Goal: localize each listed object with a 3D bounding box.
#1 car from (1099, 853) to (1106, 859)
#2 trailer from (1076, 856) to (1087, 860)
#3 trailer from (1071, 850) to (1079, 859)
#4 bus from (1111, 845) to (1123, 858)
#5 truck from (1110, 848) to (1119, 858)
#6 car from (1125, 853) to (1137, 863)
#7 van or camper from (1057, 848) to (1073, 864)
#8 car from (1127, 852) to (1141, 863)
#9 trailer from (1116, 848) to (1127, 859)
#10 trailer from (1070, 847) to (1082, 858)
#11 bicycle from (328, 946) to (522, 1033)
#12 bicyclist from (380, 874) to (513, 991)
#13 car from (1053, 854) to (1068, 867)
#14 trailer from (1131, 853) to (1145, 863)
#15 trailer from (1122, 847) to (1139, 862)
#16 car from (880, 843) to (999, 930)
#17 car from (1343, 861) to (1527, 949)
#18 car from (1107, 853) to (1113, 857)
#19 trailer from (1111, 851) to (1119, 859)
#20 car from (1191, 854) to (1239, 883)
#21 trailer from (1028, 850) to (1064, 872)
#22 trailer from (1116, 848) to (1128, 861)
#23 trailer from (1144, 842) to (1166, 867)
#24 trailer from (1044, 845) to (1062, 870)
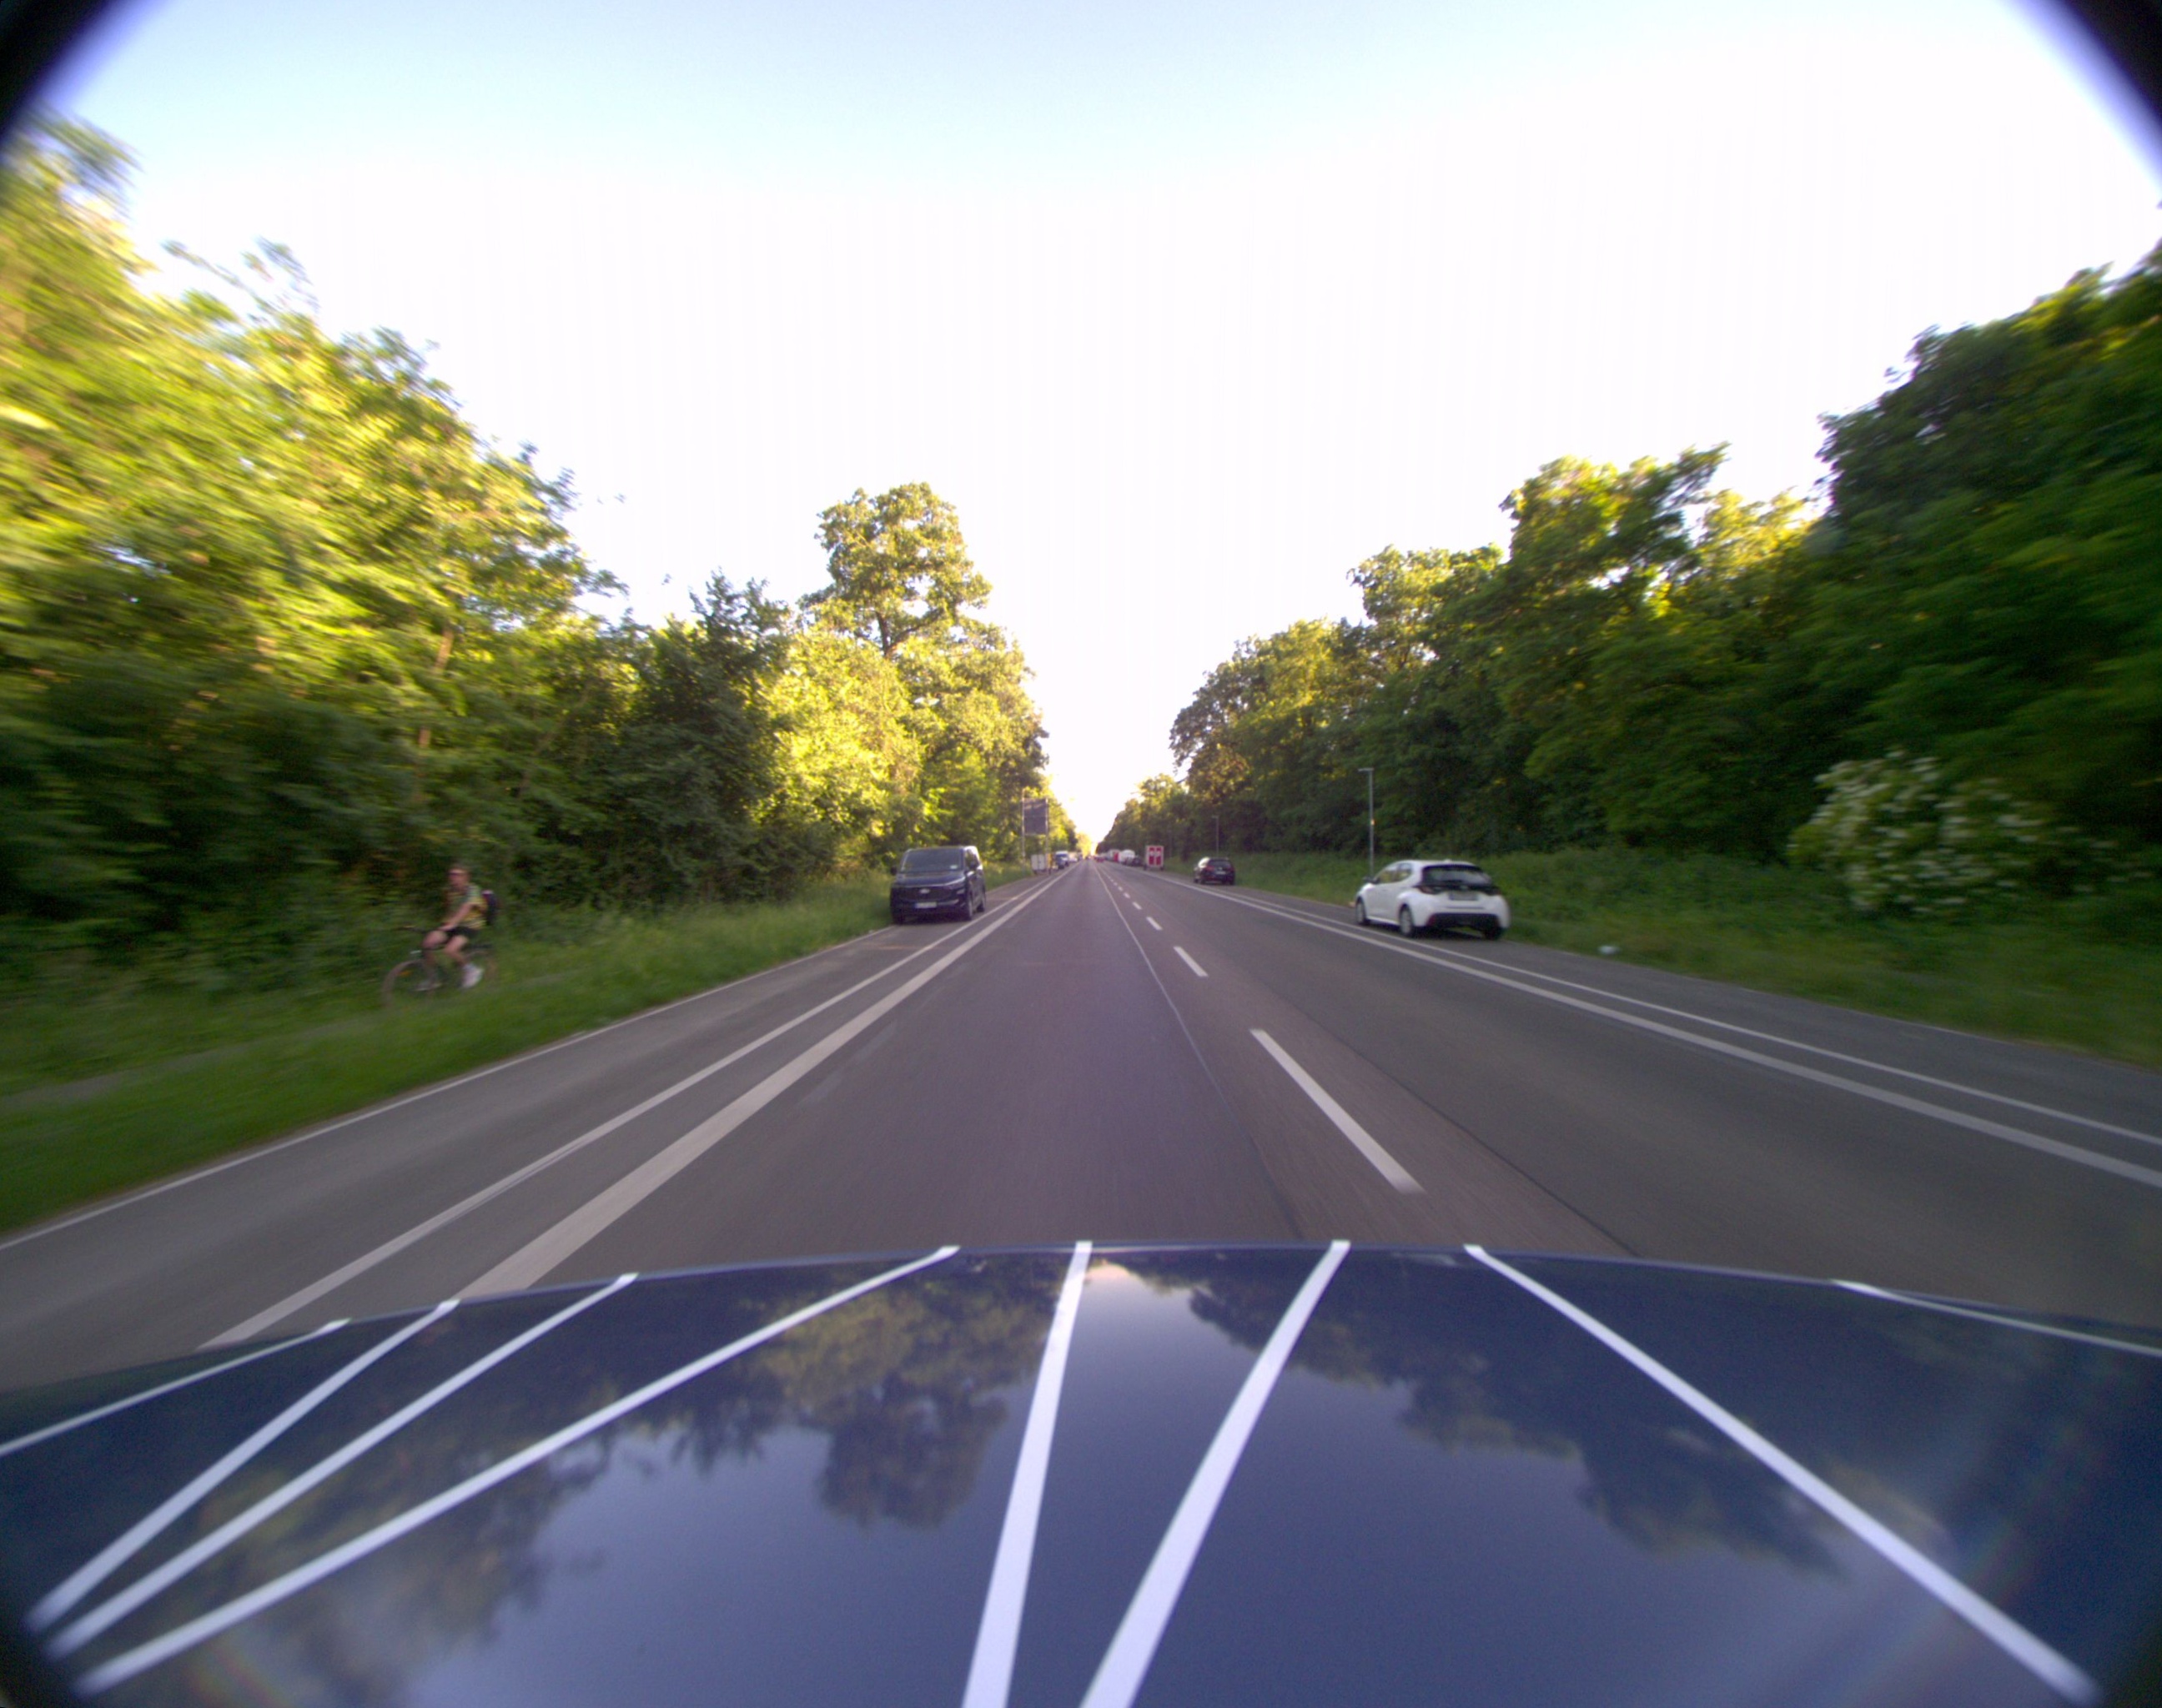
[{"bbox_3d":[5.183,0.554,181.958,1.608,1.412,3.518,0,0,1],"label":"car"},{"bbox_3d":[0.132,0.928,172.056,2.439,0.794,5.659,-2,1,1],"label":"trailer"},{"bbox_3d":[-1.508,0.099,187.847,1.759,2.149,3.539,-1,0,0],"label":"trailer"},{"bbox_3d":[9.996,-0.637,214.347,2.835,3.411,11.199,-2,1,1],"label":"bus"},{"bbox_3d":[9.881,-0.299,225.620,2.489,2.807,8.424,-2,0,1],"label":"truck"},{"bbox_3d":[8.136,0.567,123.451,1.675,1.486,4.194,2,1,1],"label":"car"},{"bbox_3d":[-2.510,0.268,118.818,2.131,2.468,6.305,-1,0,2],"label":"van or camper"},{"bbox_3d":[8.161,0.567,117.287,1.675,1.565,5.126,2,1,1],"label":"car"},{"bbox_3d":[8.807,-0.055,167.043,2.072,2.466,3.560,-1,0,-3],"label":"trailer"},{"bbox_3d":[-1.407,-0.494,210.348,2.928,2.825,9.881,-4,1,0],"label":"trailer"},{"bbox_3d":[-7.902,1.604,9.300,0.592,0.688,1.996,-2,0,1],"label":"bicycle"},{"bbox_3d":[-7.846,0.932,9.453,0.612,1.317,1.175,-2,1,1],"label":"bicyclist"},{"bbox_3d":[-2.510,0.752,93.204,1.590,1.521,3.011,-3,0,1],"label":"car"},{"bbox_3d":[8.256,0.573,110.342,1.845,1.457,4.466,-1,0,1],"label":"trailer"},{"bbox_3d":[8.478,0.005,130.030,2.352,2.514,4.343,-1,0,-3],"label":"trailer"},{"bbox_3d":[-3.682,0.770,20.777,2.119,2.002,5.039,-3,0,1],"label":"car"},{"bbox_3d":[6.984,0.926,15.523,1.871,1.442,4.071,2,0,1],"label":"car"},{"bbox_3d":[9.970,0.368,261.866,1.787,1.485,4.001,0,0,5],"label":"car"},{"bbox_3d":[8.625,0.250,191.567,1.857,2.002,3.561,2,0,1],"label":"trailer"},{"bbox_3d":[7.386,0.772,42.178,1.859,1.456,4.784,-1,0,1],"label":"car"},{"bbox_3d":[-3.251,0.626,71.020,1.964,2.011,3.849,-1,0,21],"label":"trailer"},{"bbox_3d":[8.189,0.101,152.162,2.072,2.466,3.560,-1,0,-3],"label":"trailer"},{"bbox_3d":[7.862,0.077,81.503,1.998,2.606,4.086,-1,0,1],"label":"trailer"},{"bbox_3d":[-2.858,0.334,78.622,1.617,2.494,3.999,-2,1,0],"label":"trailer"}]
